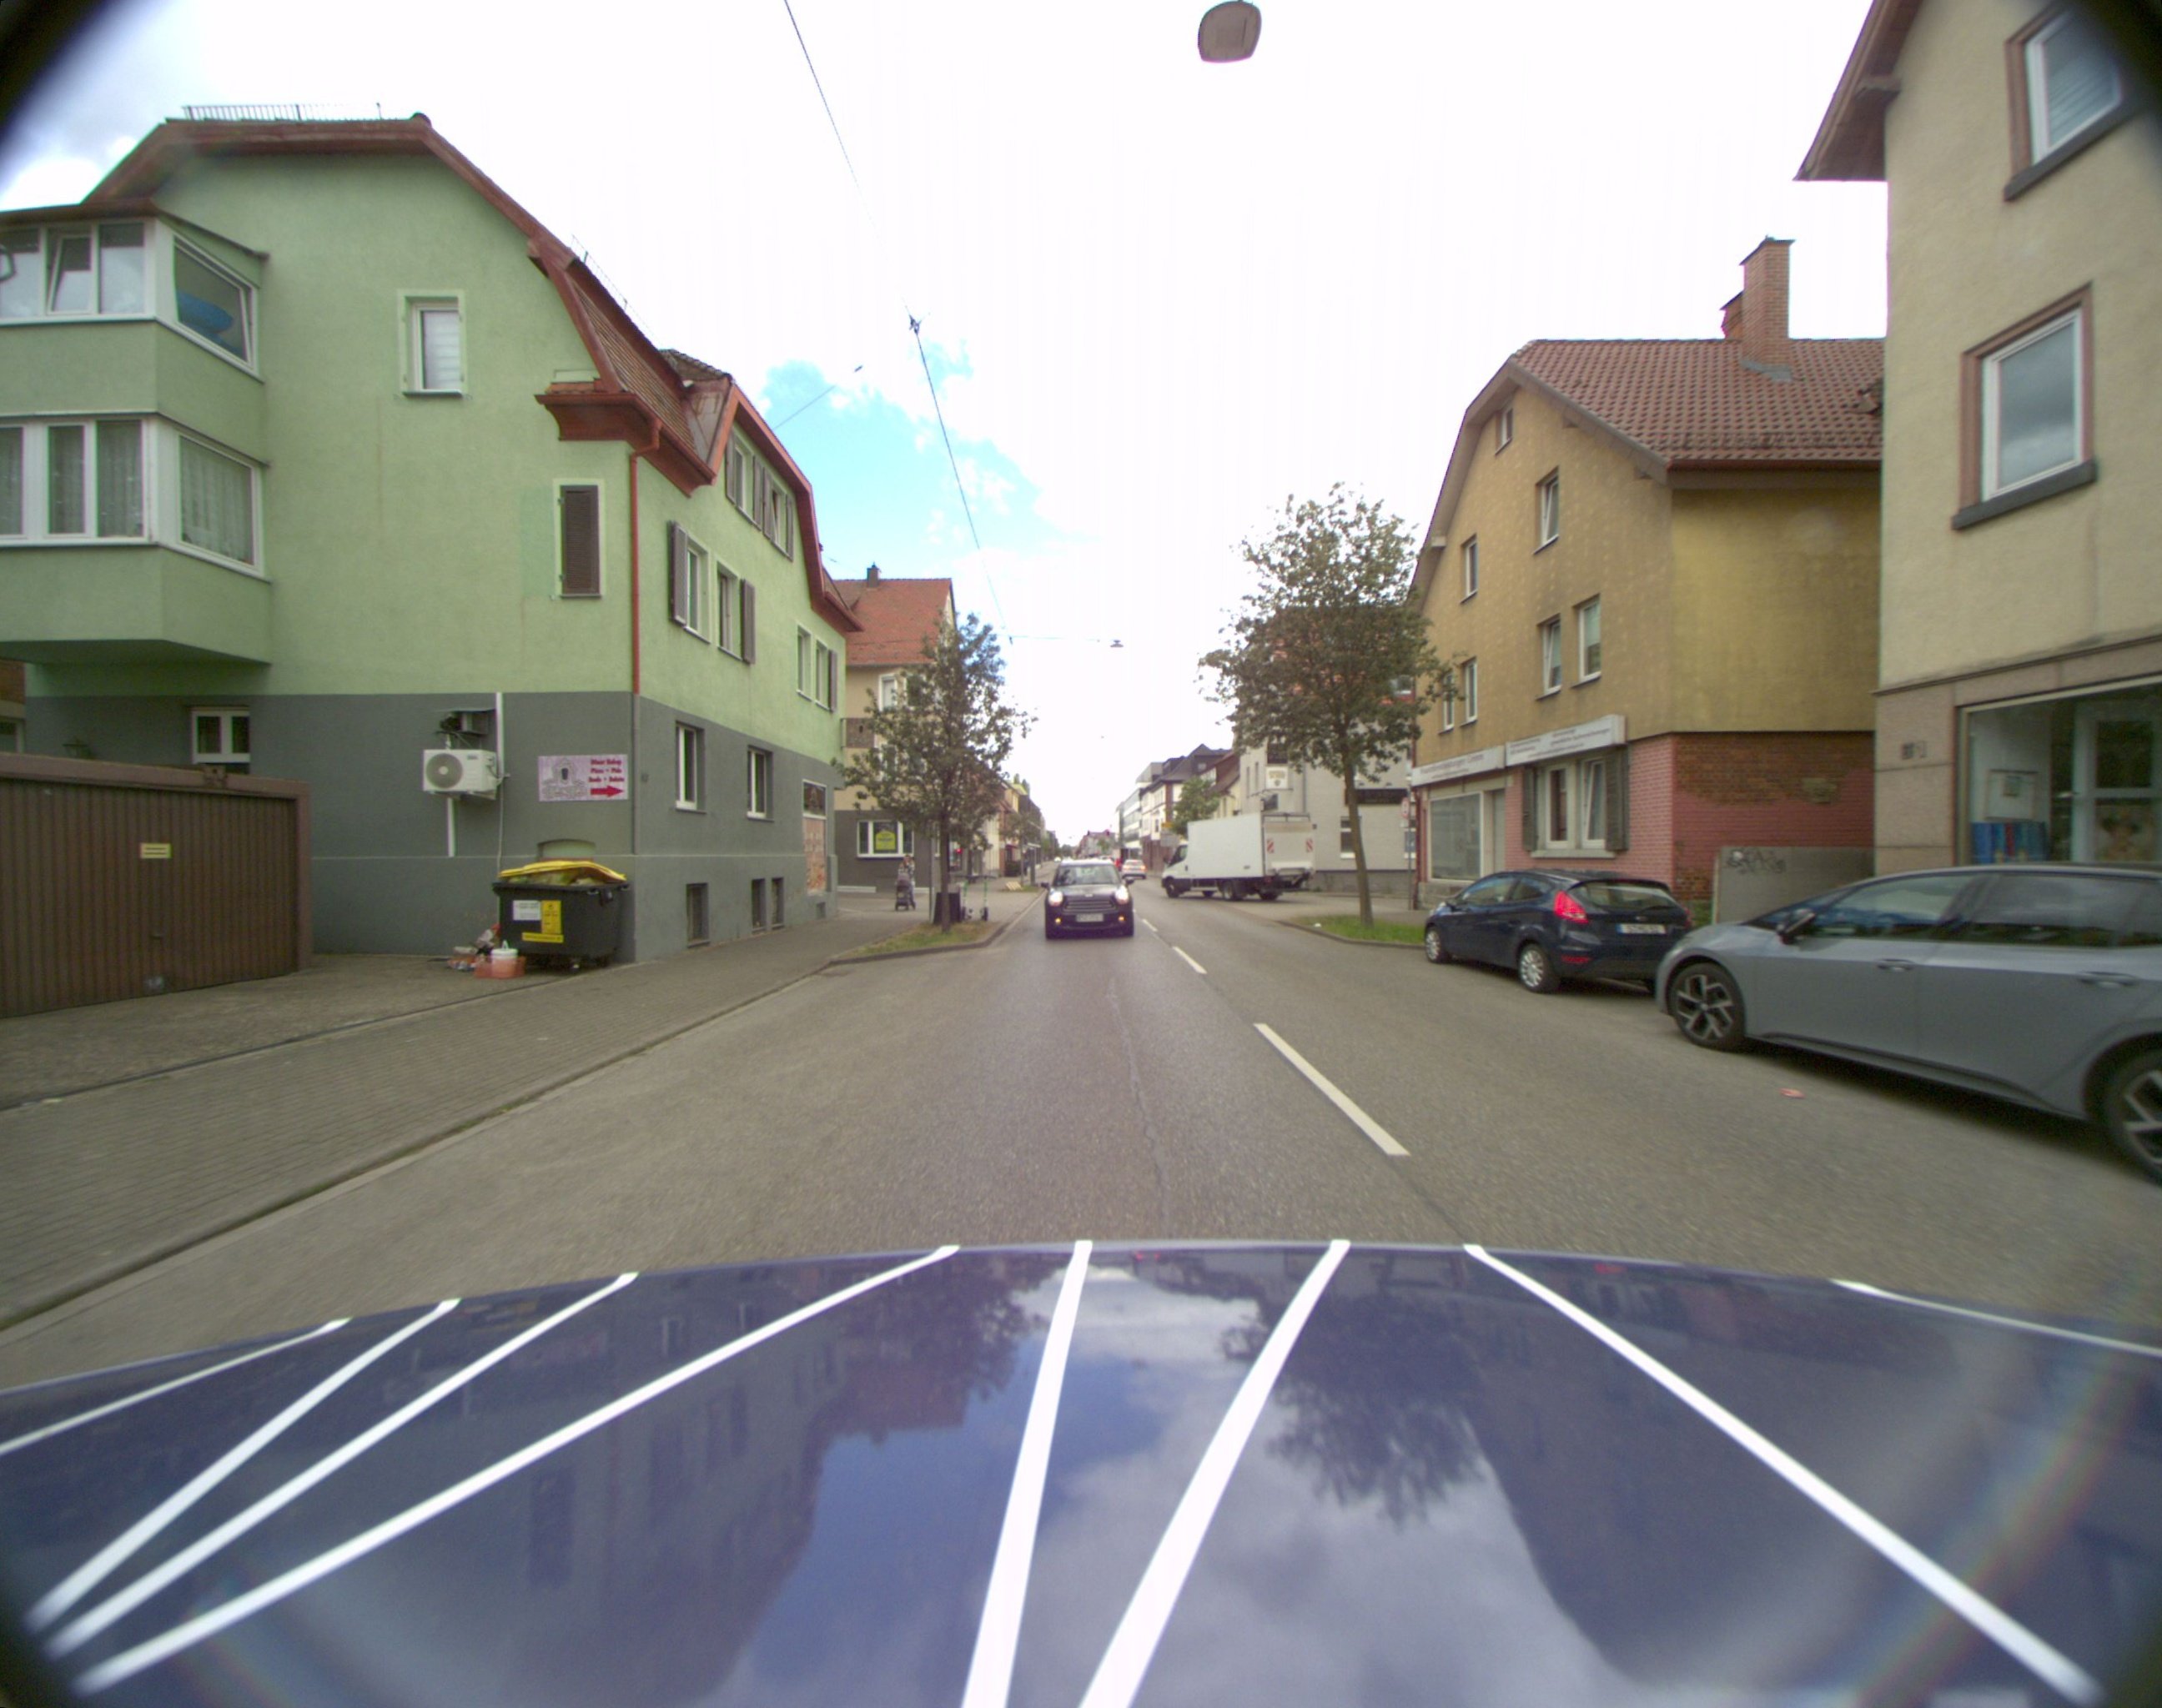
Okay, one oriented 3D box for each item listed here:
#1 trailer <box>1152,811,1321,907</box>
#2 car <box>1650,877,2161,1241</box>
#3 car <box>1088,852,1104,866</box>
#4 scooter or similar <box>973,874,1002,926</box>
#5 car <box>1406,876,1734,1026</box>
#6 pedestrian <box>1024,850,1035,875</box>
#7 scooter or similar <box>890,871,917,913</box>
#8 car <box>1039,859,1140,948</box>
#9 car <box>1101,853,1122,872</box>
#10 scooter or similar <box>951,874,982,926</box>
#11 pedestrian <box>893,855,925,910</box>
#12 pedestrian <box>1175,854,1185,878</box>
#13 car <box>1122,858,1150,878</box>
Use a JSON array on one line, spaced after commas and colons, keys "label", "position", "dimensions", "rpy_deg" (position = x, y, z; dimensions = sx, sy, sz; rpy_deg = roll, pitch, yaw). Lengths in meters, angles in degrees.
[{"label": "trailer", "position": [5.621, 0.119, 28.888], "dimensions": [2.514, 3.201, 7.119], "rpy_deg": [-1, 1, -25]}, {"label": "car", "position": [5.806, 0.994, 4.558], "dimensions": [1.714, 1.557, 4.113], "rpy_deg": [1, 0, 1]}, {"label": "car", "position": [1.846, 0.602, 93.315], "dimensions": [1.785, 1.543, 4.074], "rpy_deg": [2, 0, -1]}, {"label": "scooter or similar", "position": [-2.424, 1.168, 19.817], "dimensions": [0.503, 1.228, 1.942], "rpy_deg": [-1, 0, 0]}, {"label": "car", "position": [5.934, 1.069, 9.876], "dimensions": [1.687, 1.416, 3.930], "rpy_deg": [1, 0, 0]}, {"label": "pedestrian", "position": [-4.287, 0.723, 63.598], "dimensions": [0.826, 2.062, 1.010], "rpy_deg": [3, 1, -4]}, {"label": "scooter or similar", "position": [-5.401, 1.142, 23.183], "dimensions": [0.591, 1.225, 0.891], "rpy_deg": [-1, 1, 0]}, {"label": "car", "position": [0.160, 0.948, 16.601], "dimensions": [1.847, 1.571, 4.429], "rpy_deg": [-3, 0, 0]}, {"label": "car", "position": [3.025, 0.823, 76.412], "dimensions": [1.998, 1.785, 4.277], "rpy_deg": [1, 0, 0]}, {"label": "scooter or similar", "position": [-2.959, 1.170, 19.810], "dimensions": [0.503, 1.228, 1.942], "rpy_deg": [-1, 0, 0]}, {"label": "pedestrian", "position": [-5.440, 0.888, 24.093], "dimensions": [0.752, 1.710, 0.900], "rpy_deg": [-1, 1, 0]}, {"label": "pedestrian", "position": [7.330, 0.892, 56.261], "dimensions": [0.679, 1.727, 0.717], "rpy_deg": [0, 0, 0]}, {"label": "car", "position": [4.236, 1.044, 59.018], "dimensions": [1.847, 1.425, 4.543], "rpy_deg": [1, 0, 0]}]
